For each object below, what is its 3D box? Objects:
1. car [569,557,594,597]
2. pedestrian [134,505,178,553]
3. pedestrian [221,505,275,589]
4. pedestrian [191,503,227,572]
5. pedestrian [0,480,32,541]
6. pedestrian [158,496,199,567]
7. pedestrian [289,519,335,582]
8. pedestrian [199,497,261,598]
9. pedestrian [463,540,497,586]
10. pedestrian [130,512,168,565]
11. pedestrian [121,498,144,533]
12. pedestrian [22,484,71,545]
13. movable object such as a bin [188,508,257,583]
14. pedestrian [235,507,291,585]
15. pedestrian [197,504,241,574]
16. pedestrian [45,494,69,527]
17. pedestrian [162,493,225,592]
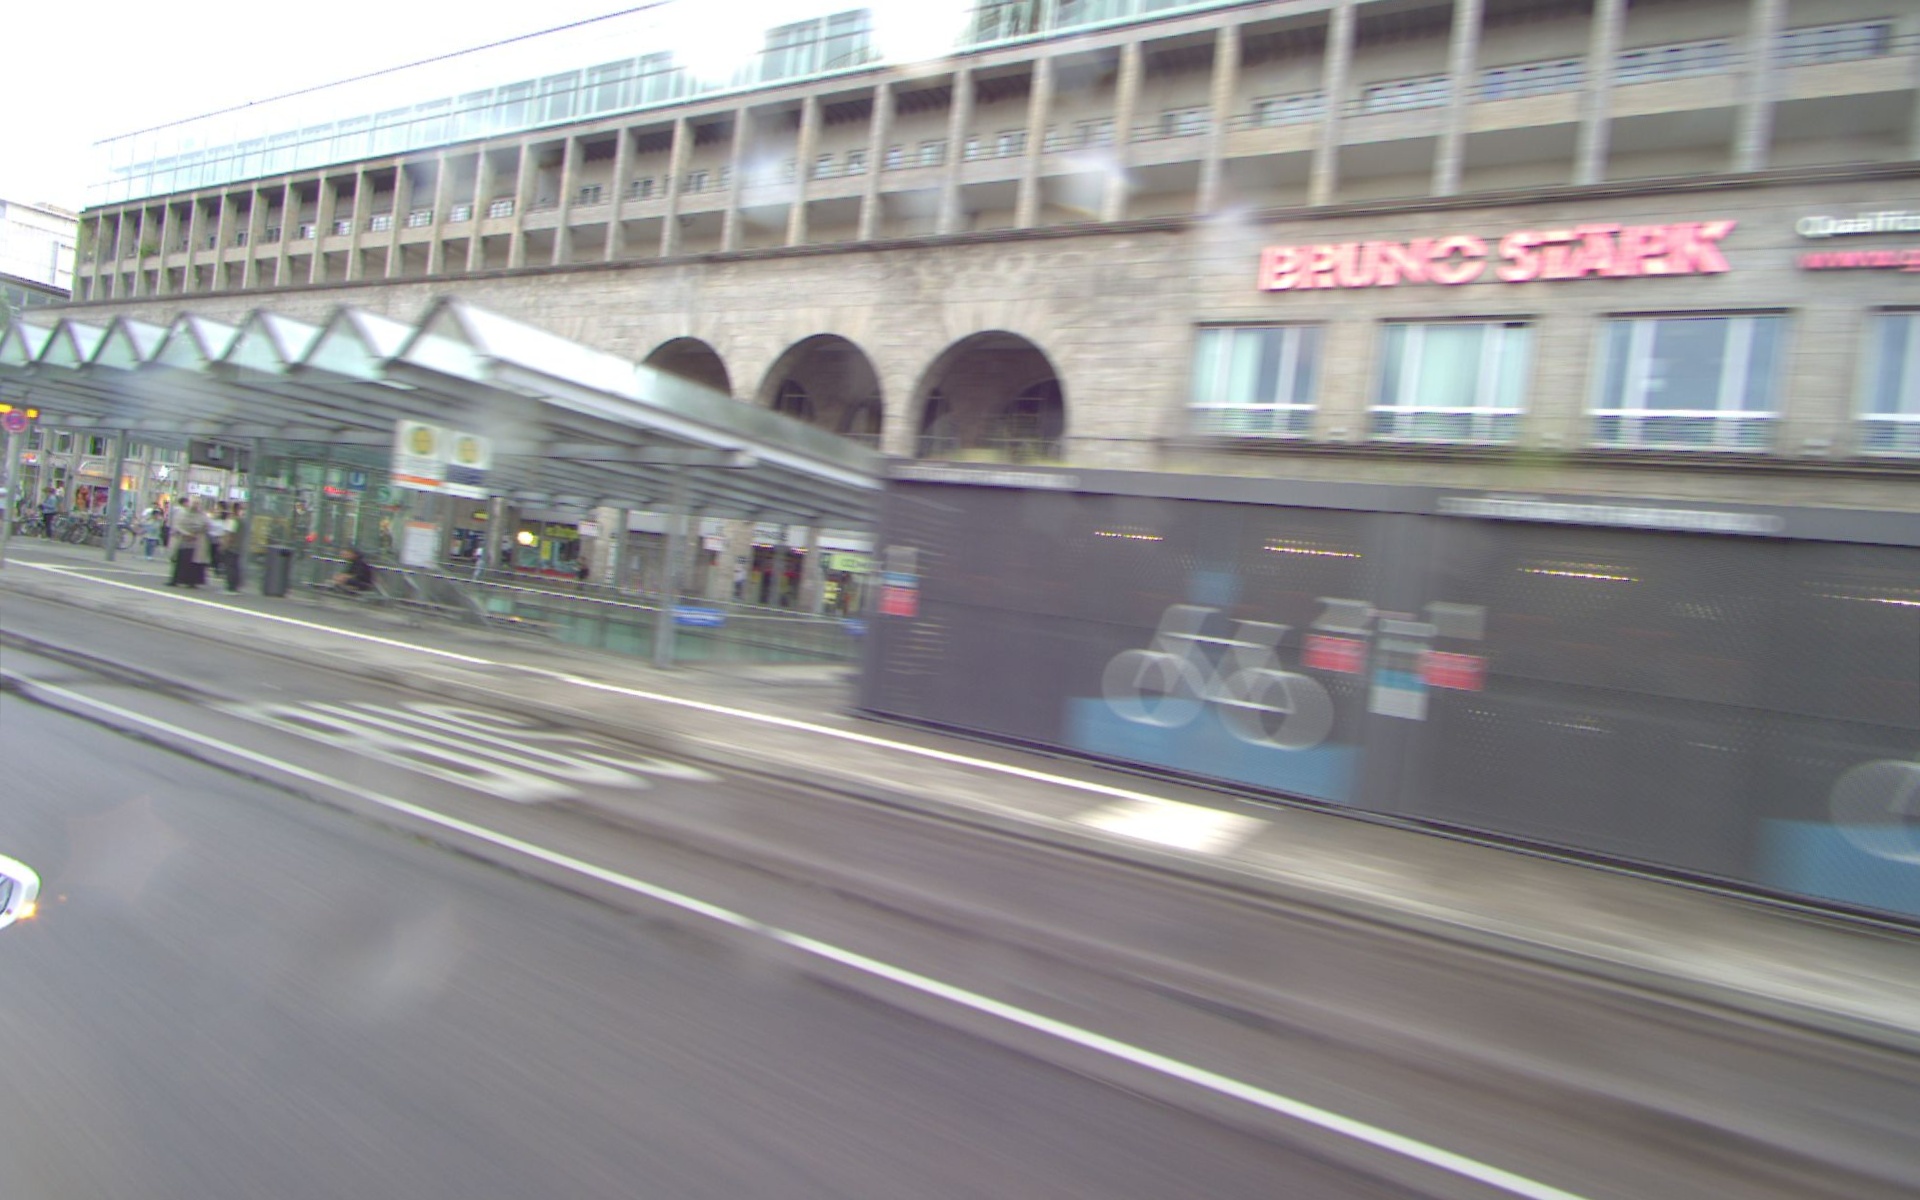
[{"bbox_3d":[-15.620,-0.947,41.559,0.558,1.557,0.590,6,-1,31],"label":"car"},{"bbox_3d":[-31.474,-2.781,39.409,0.974,1.715,0.853,7,0,-21],"label":"pedestrian"},{"bbox_3d":[-16.826,-1.252,23.782,0.752,1.859,0.749,7,0,44],"label":"pedestrian"},{"bbox_3d":[-21.657,-1.792,29.027,0.591,1.897,0.586,7,0,-31],"label":"pedestrian"},{"bbox_3d":[-30.645,-2.890,32.209,0.974,1.827,0.789,6,1,0],"label":"pedestrian"},{"bbox_3d":[-21.909,-1.918,28.208,0.615,1.882,0.607,7,0,37],"label":"pedestrian"},{"bbox_3d":[-20.358,-1.546,31.628,0.739,1.853,0.762,7,0,-1],"label":"pedestrian"},{"bbox_3d":[-14.360,-1.028,19.797,0.631,1.859,0.628,7,0,31],"label":"pedestrian"},{"bbox_3d":[-19.226,-1.477,40.288,0.740,1.730,0.761,7,0,29],"label":"pedestrian"},{"bbox_3d":[-22.850,-1.733,28.344,0.499,1.394,0.553,7,0,23],"label":"pedestrian"},{"bbox_3d":[-45.458,-4.627,55.278,0.776,1.814,0.653,7,1,32],"label":"pedestrian"},{"bbox_3d":[-27.844,-2.595,30.673,0.887,1.715,0.749,7,0,31],"label":"pedestrian"},{"bbox_3d":[-18.132,-1.329,24.747,1.029,1.672,0.665,7,0,5],"label":"movable object such as a bin"},{"bbox_3d":[-18.138,-1.401,26.171,0.748,1.871,0.752,7,0,25],"label":"pedestrian"},{"bbox_3d":[-20.846,-1.705,28.324,0.582,1.853,0.607,7,0,-1],"label":"pedestrian"},{"bbox_3d":[-53.901,-5.329,60.063,0.775,1.814,0.732,7,1,28],"label":"pedestrian"},{"bbox_3d":[-15.350,-1.138,20.142,0.564,1.859,0.677,7,0,30],"label":"pedestrian"}]
